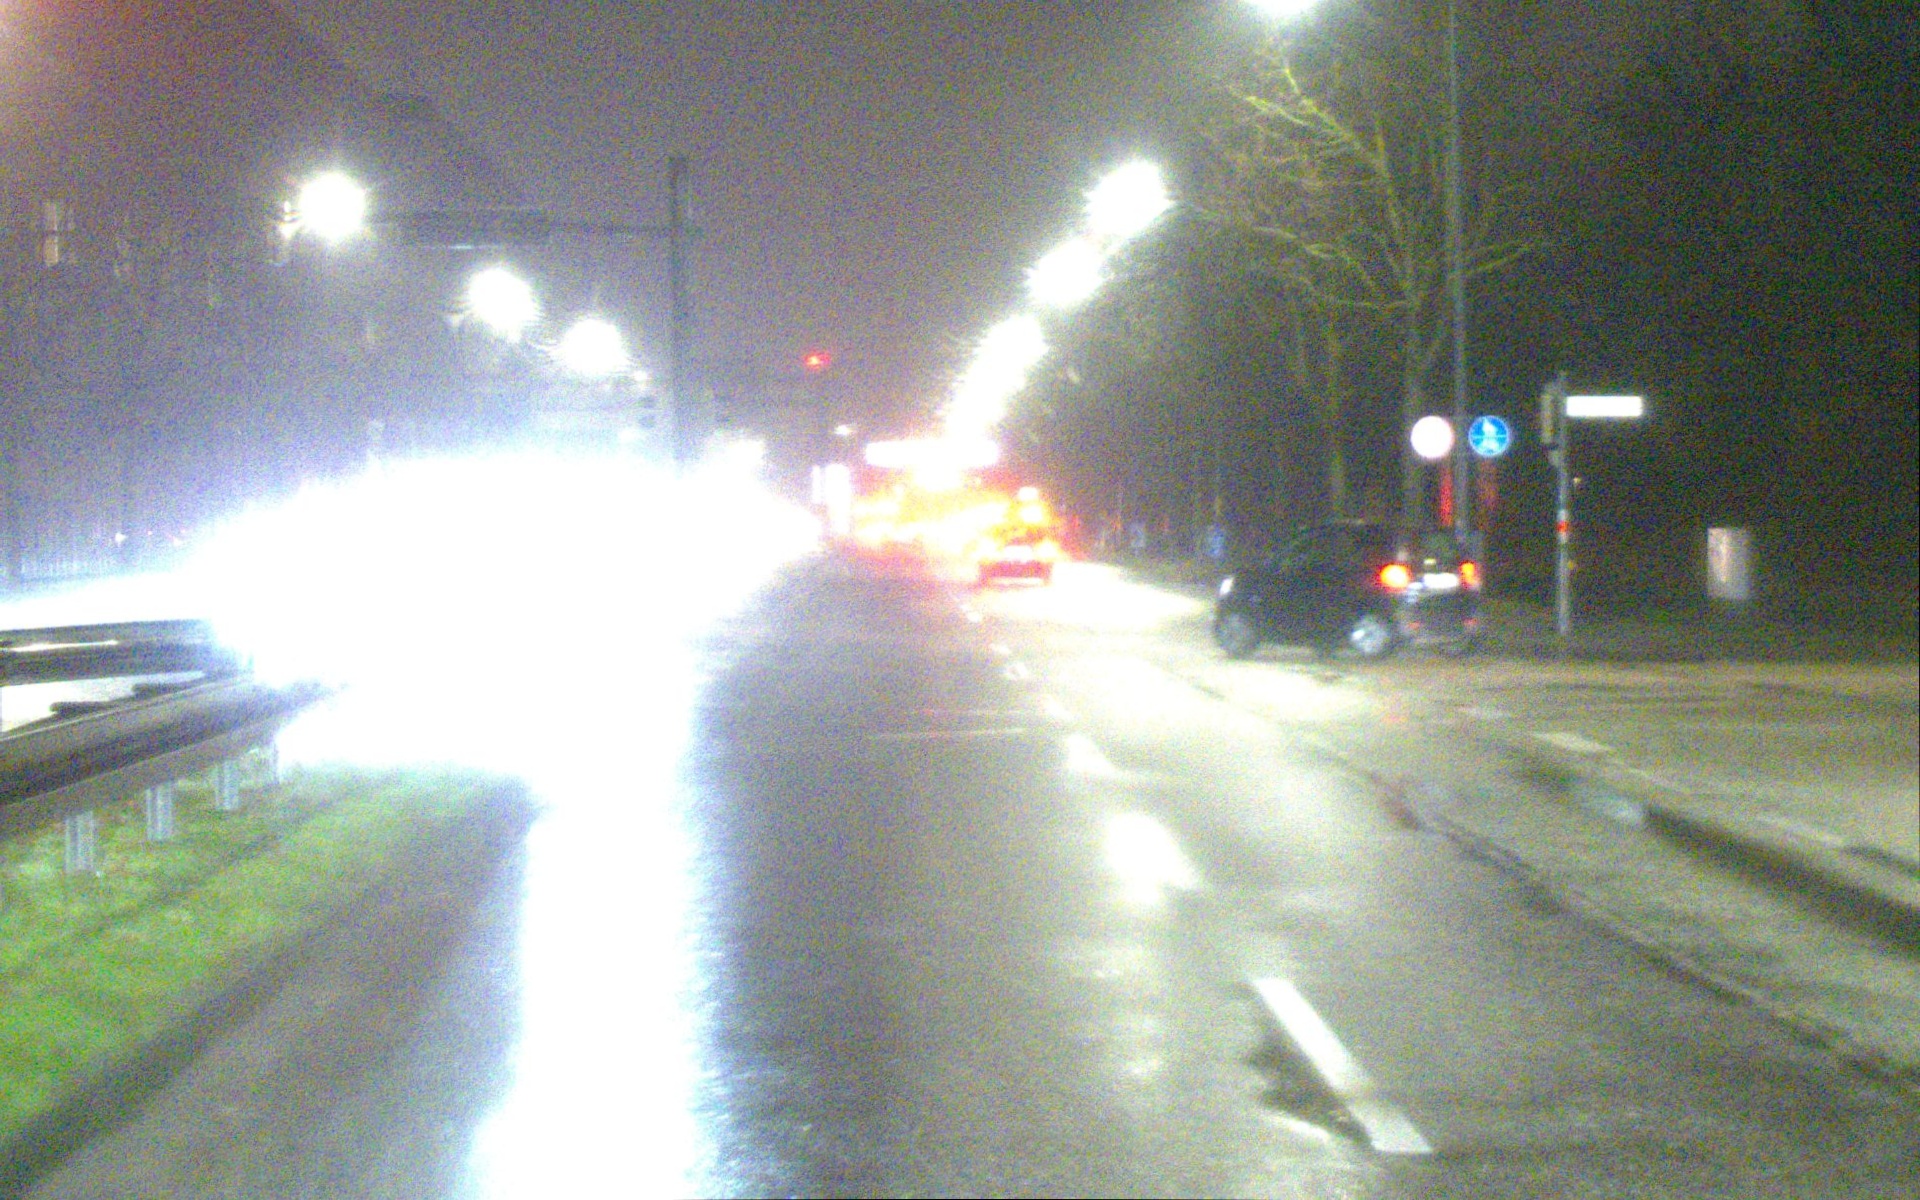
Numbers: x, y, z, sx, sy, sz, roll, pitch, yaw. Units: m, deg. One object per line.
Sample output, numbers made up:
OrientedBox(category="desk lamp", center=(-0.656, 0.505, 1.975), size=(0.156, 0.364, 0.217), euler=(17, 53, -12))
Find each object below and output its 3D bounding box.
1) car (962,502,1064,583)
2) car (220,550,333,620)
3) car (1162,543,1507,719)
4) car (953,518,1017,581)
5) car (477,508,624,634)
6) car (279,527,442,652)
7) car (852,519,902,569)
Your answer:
OrientedBox(category="car", center=(1.167, -1.278, 77.695), size=(1.902, 1.774, 4.001), euler=(0, 0, -5))
OrientedBox(category="car", center=(-16.045, -0.362, 80.901), size=(1.847, 1.585, 4.353), euler=(0, 0, -1))
OrientedBox(category="car", center=(4.071, 0.310, 37.645), size=(3.426, 1.831, 1.683), euler=(0, 0, 43))
OrientedBox(category="car", center=(0.856, -1.779, 121.547), size=(2.208, 2.207, 3.643), euler=(0, 0, 0))
OrientedBox(category="car", center=(-6.808, -0.491, 57.494), size=(1.993, 2.007, 4.000), euler=(-1, 1, -1))
OrientedBox(category="car", center=(-9.114, -0.174, 52.553), size=(1.783, 1.809, 4.000), euler=(-1, 1, 0))
OrientedBox(category="car", center=(-3.349, -2.271, 139.714), size=(1.993, 2.007, 4.000), euler=(0, 0, -1))
